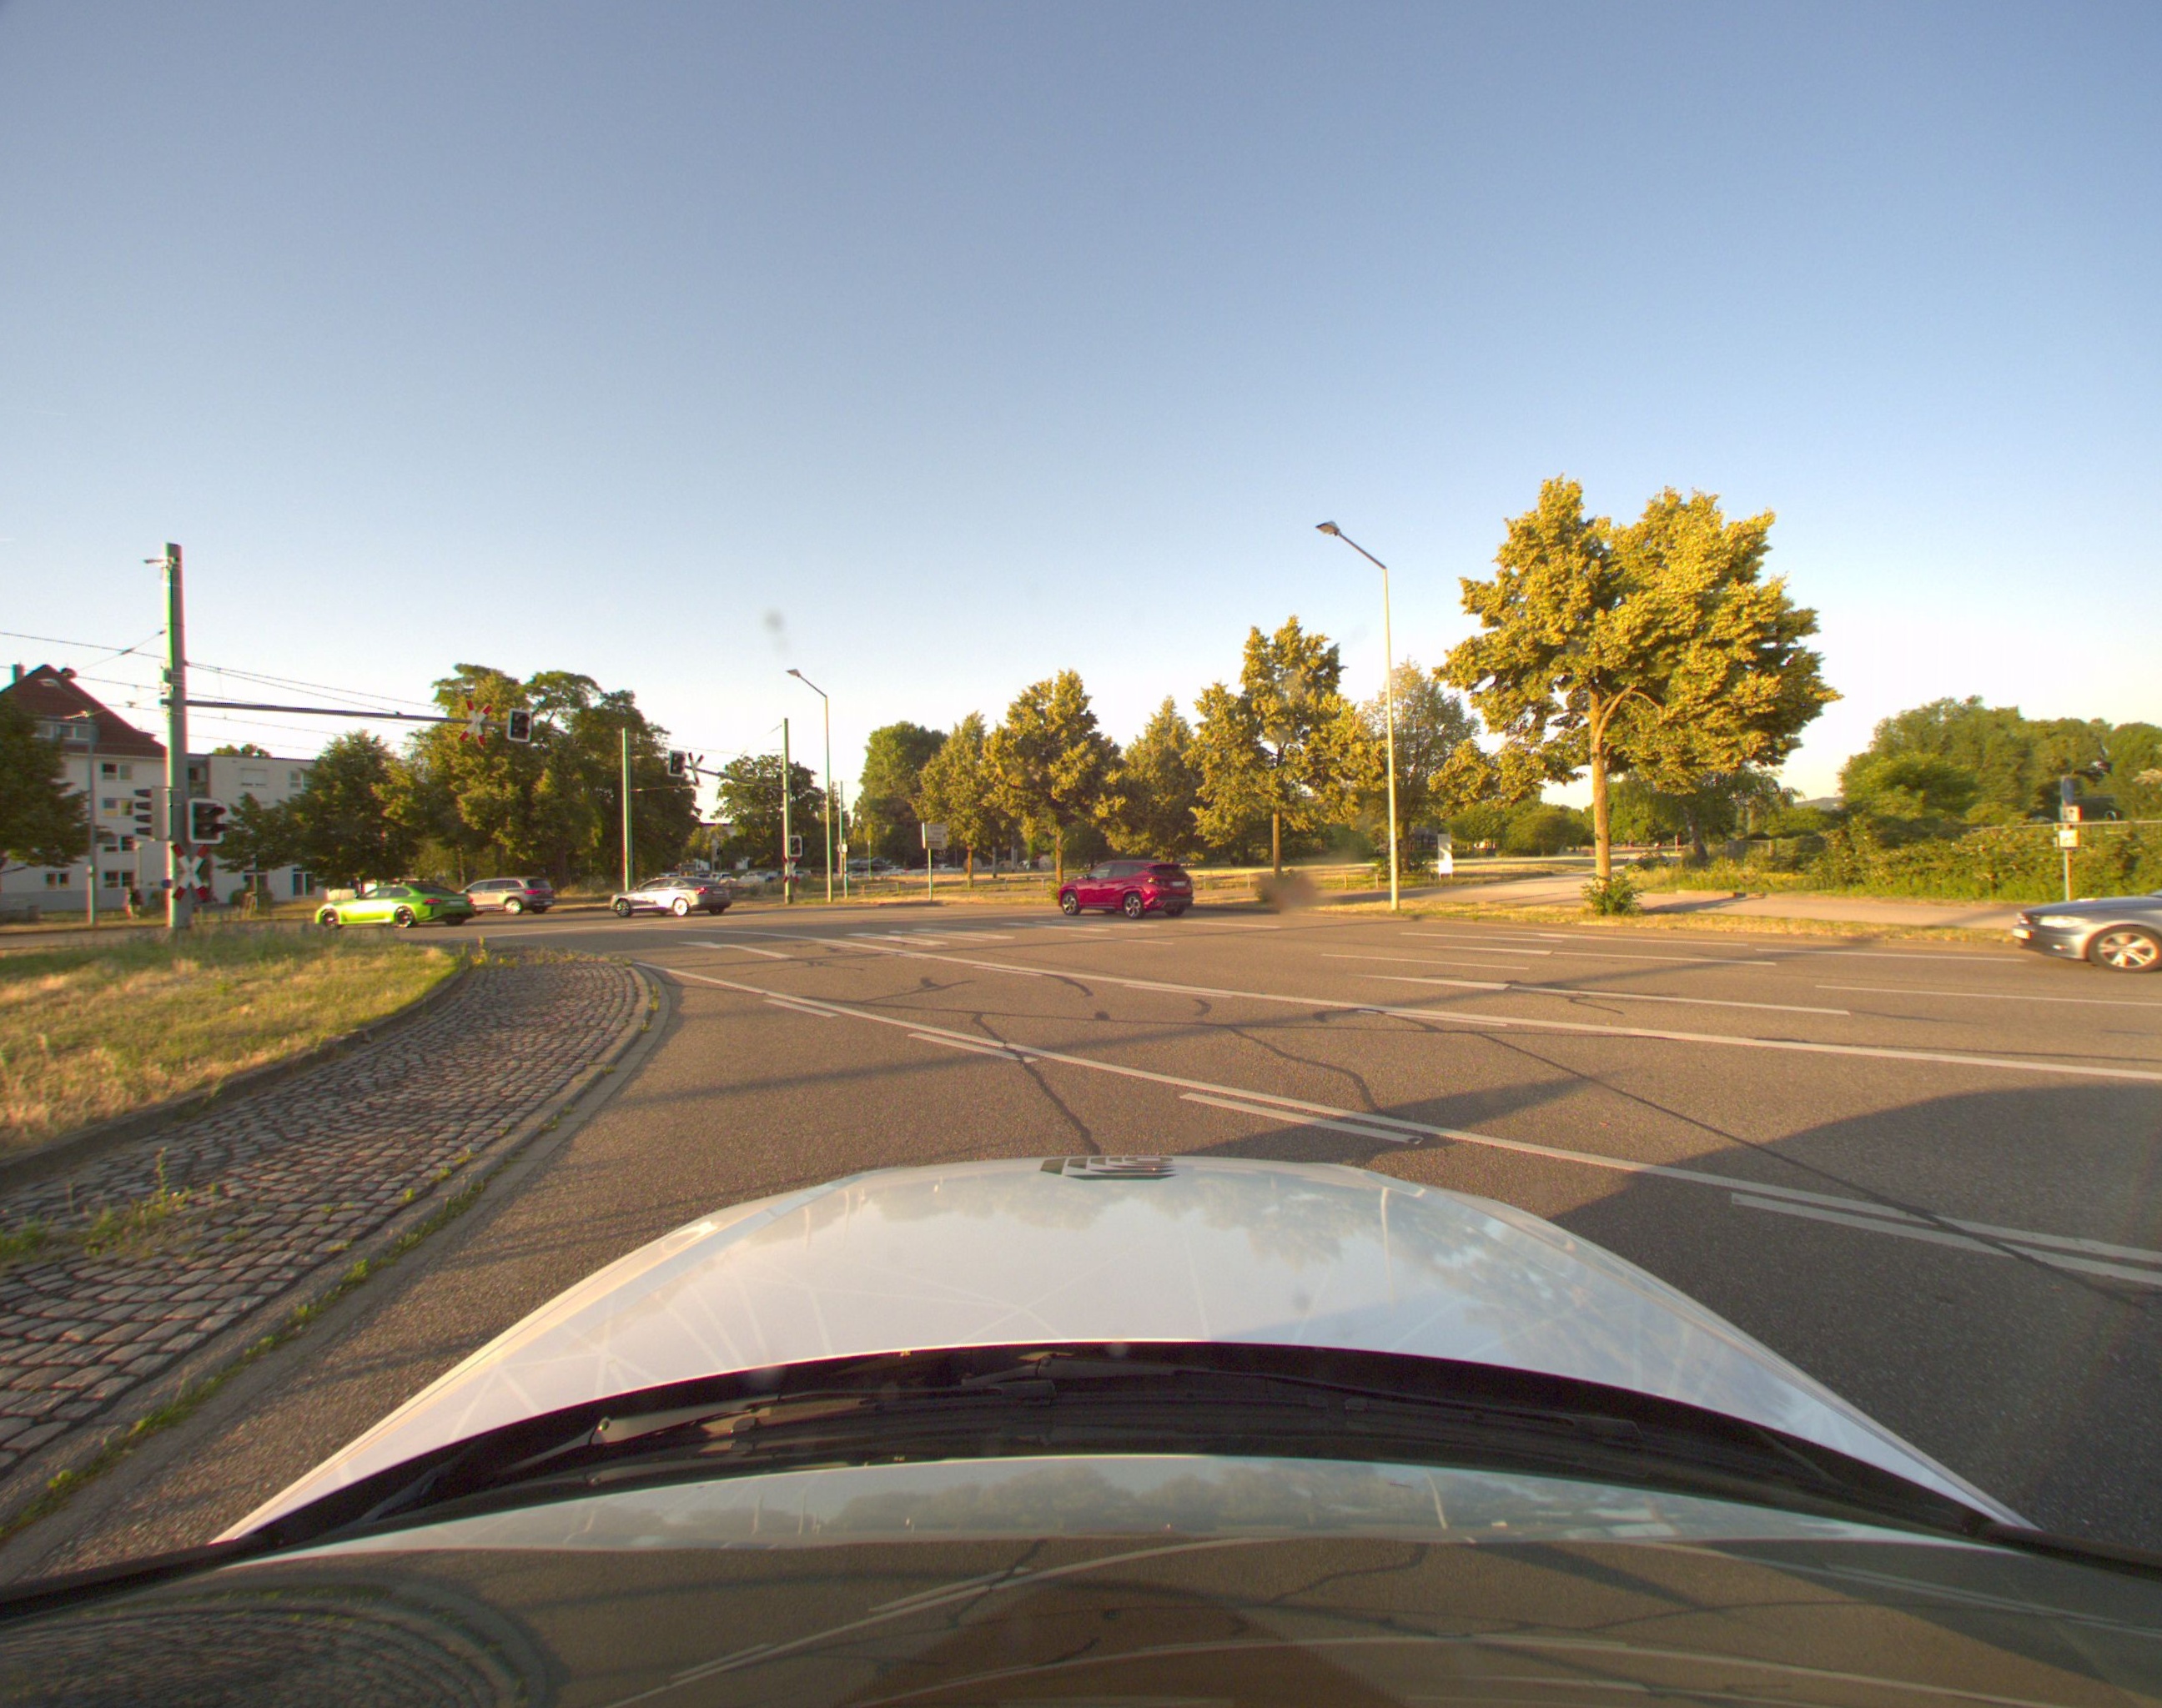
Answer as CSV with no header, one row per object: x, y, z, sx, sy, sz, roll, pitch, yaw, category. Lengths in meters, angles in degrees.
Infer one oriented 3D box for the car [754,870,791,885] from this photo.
-35.518,2.699,93.682,3.948,1.604,2.013,-2,0,34,car

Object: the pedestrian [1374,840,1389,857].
28.352,-0.536,76.878,1.064,1.617,0.911,-2,0,4,pedestrian

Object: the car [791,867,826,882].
-32.646,2.448,97.621,3.948,1.604,2.013,-2,0,34,car

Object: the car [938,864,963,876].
-20.854,2.514,130.000,2.008,1.752,4.549,-1,1,-35,car

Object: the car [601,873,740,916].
-15.175,1.499,30.142,4.616,1.464,1.896,-2,0,20,car

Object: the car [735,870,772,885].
-37.063,2.697,92.072,3.948,1.604,2.013,-2,0,34,car

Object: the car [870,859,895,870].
-35.697,1.873,146.447,3.964,1.706,2.005,-2,0,8,car

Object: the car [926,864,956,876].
-20.005,2.360,116.493,3.948,1.604,2.013,-2,0,34,car

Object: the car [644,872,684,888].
-42.663,2.667,83.335,3.948,1.604,2.013,-2,0,34,car

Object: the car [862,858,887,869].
-37.974,1.762,150.054,1.975,2.013,4.025,-2,0,42,car

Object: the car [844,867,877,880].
-28.140,2.466,103.915,3.948,1.604,2.013,-2,0,34,car

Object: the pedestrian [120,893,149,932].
-47.153,2.927,40.584,0.666,1.893,0.619,0,-1,-4,pedestrian

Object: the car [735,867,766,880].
-46.241,2.772,113.954,4.005,1.662,1.984,-2,0,-24,car

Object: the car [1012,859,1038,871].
-7.967,1.511,115.275,1.748,1.618,3.954,-1,0,-39,car

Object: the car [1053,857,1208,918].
1.364,0.941,23.979,2.011,1.573,4.362,-1,0,-43,car

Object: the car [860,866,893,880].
-26.683,2.472,105.998,3.948,1.604,2.013,-2,0,34,car

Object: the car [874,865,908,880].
-27.664,2.671,118.523,4.578,2.013,1.995,-2,0,-7,car

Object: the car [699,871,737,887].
-39.032,2.675,87.552,3.948,1.604,2.013,-2,0,34,car

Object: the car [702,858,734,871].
-61.939,1.775,139.072,1.974,2.013,4.628,-2,0,36,car

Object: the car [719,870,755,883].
-46.126,3.003,109.155,1.878,1.662,4.026,-2,0,37,car

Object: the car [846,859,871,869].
-41.763,1.872,153.032,1.974,1.816,4.026,-2,0,37,car

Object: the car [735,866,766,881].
-47.985,2.764,118.184,4.006,2.013,1.984,-2,0,-24,car

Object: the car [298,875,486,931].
-22.240,1.554,26.409,4.450,1.579,2.002,-2,0,4,car

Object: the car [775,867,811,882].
-33.710,2.439,95.441,3.948,1.604,2.013,-2,0,34,car

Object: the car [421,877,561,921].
-25.624,1.930,35.526,4.503,1.637,1.997,-2,0,-5,car

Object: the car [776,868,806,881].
-41.312,2.871,116.006,4.001,1.662,1.889,-2,0,-20,car

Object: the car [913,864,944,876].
-21.480,2.303,114.798,3.948,1.604,2.013,-2,0,34,car

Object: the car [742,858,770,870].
-57.852,1.791,144.943,1.974,2.013,4.143,-2,0,36,car

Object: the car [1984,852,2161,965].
14.762,0.656,10.309,4.108,1.390,1.880,-2,-1,35,car

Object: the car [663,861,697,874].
-65.677,2.220,133.332,1.974,2.013,4.627,-2,0,32,car

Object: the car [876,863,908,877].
-29.391,2.401,126.711,4.578,2.013,1.995,-2,0,-7,car
